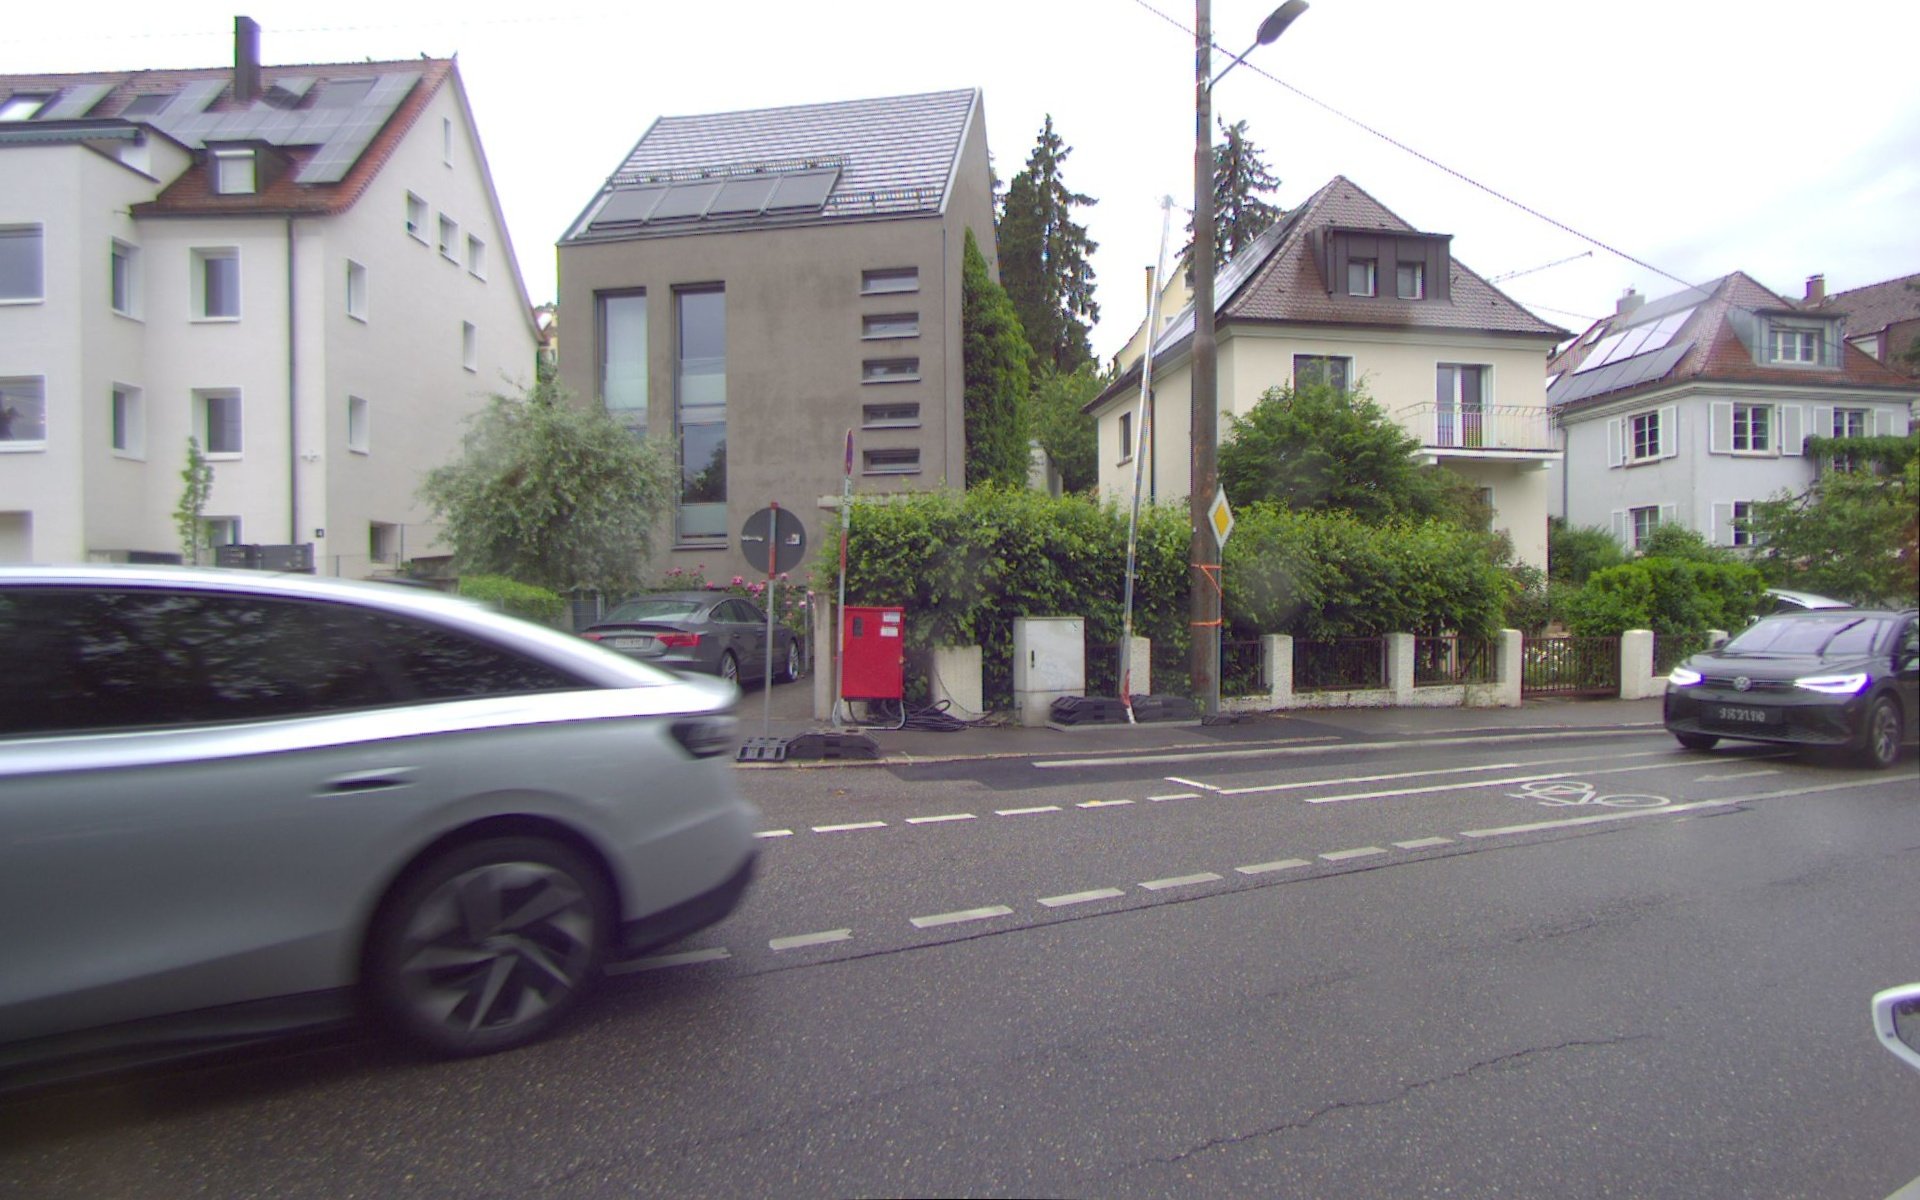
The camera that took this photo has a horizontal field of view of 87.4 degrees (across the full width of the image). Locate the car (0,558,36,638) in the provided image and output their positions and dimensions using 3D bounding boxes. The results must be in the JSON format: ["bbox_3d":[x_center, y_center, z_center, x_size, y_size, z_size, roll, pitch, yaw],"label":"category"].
[{"bbox_3d":[-16.738,0.049,15.172,1.576,1.298,4.008,2,4,6],"label":"car"}]

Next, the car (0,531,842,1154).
[{"bbox_3d":[-2.938,0.591,3.218,4.770,1.547,1.841,2,0,-34],"label":"car"}]

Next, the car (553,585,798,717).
[{"bbox_3d":[-3.615,0.563,13.579,1.740,1.506,4.002,0,1,7],"label":"car"}]

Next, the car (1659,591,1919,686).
[{"bbox_3d":[19.590,0.818,23.915,1.870,2.033,4.628,1,0,-18],"label":"car"}]

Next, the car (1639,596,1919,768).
[{"bbox_3d":[9.834,0.850,11.359,4.111,1.643,1.860,1,-2,-27],"label":"car"}]
